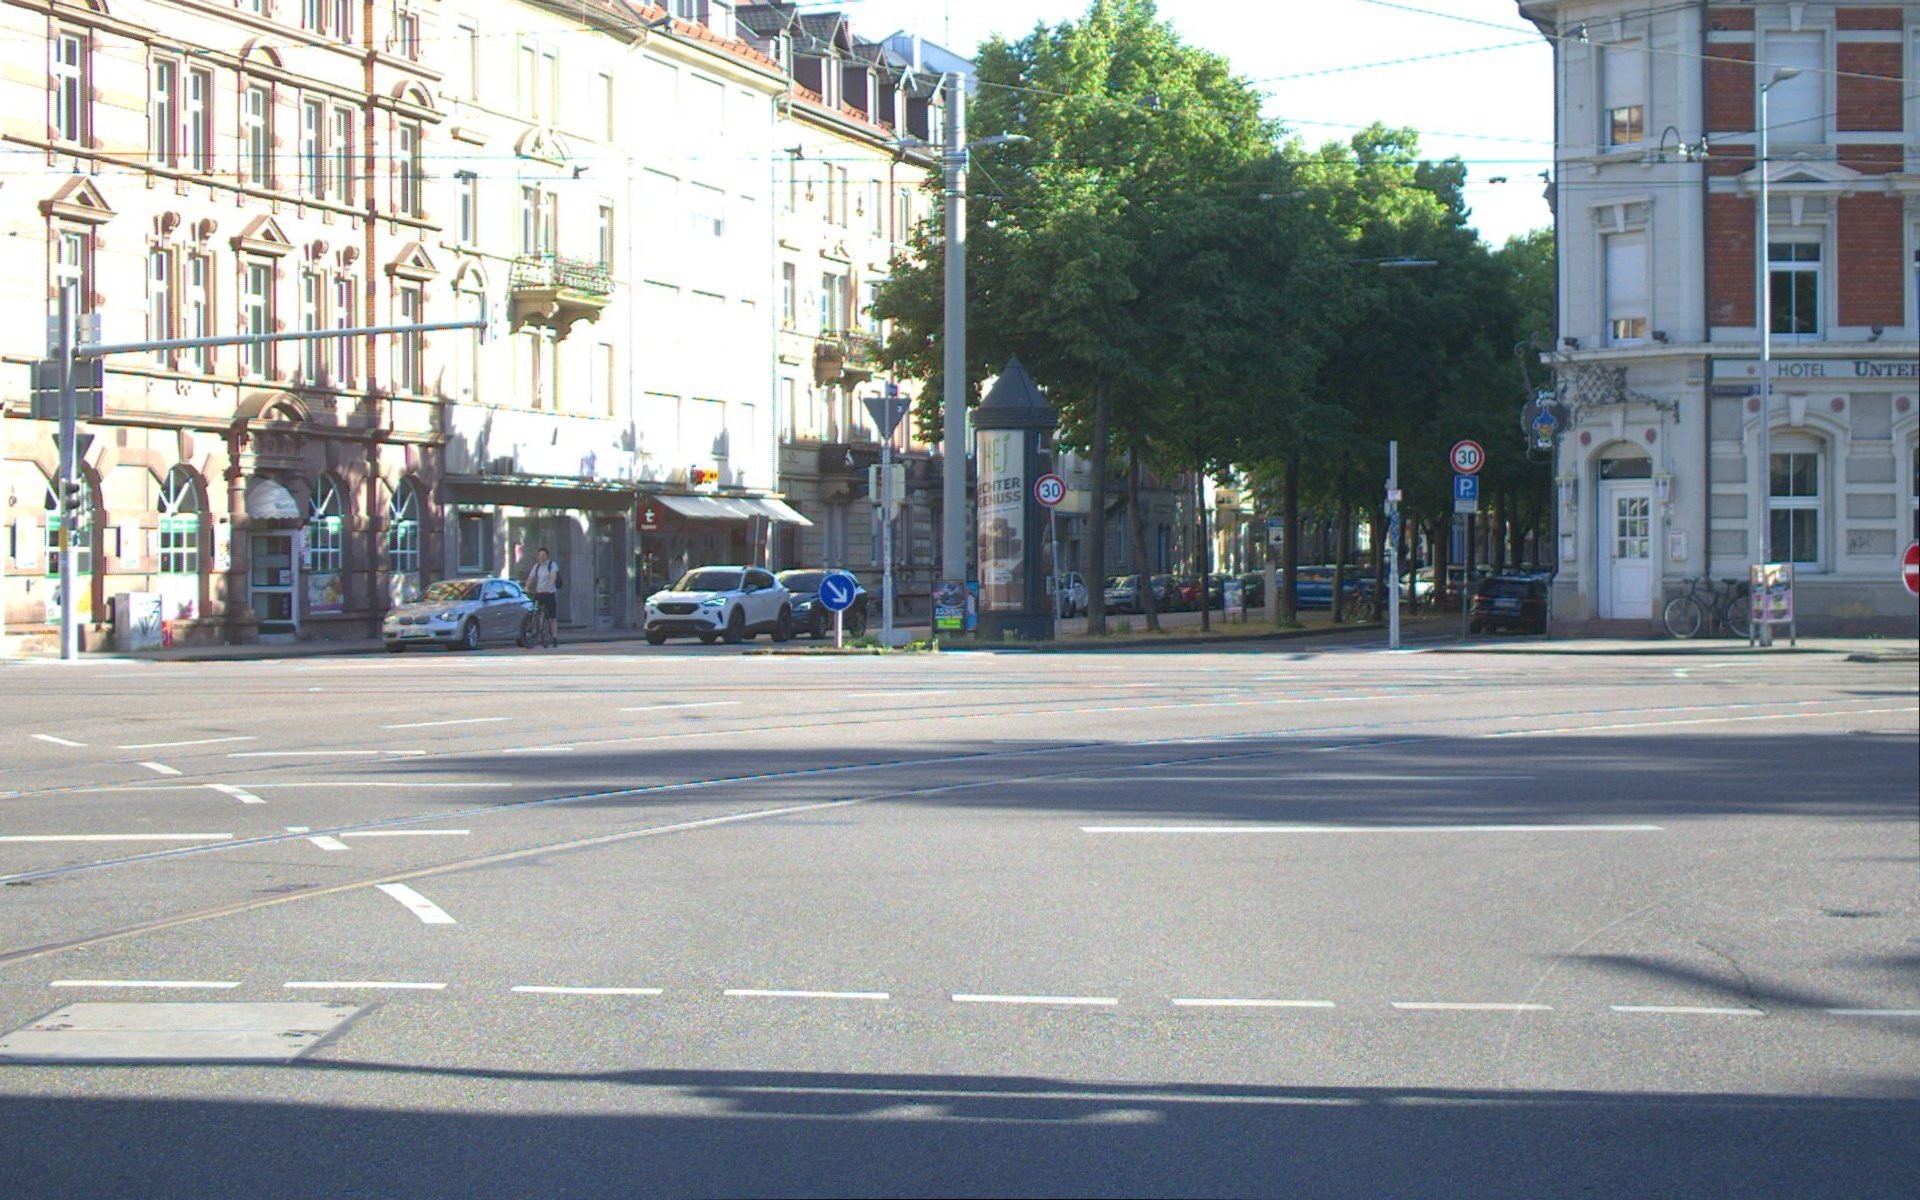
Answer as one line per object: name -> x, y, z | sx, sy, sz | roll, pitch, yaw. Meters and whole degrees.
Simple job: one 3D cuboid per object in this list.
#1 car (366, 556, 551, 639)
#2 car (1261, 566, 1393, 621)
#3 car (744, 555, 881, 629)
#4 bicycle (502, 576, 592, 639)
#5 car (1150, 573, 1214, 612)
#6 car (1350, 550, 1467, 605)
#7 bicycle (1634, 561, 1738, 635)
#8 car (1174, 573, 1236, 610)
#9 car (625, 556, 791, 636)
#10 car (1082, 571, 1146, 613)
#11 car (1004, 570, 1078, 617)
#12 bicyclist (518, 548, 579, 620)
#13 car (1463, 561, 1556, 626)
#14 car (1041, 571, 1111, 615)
car -> -9.773, -0.070, 67.378 | 2.098, 1.540, 4.361 | 0, 1, 14
car -> 12.296, -0.222, 115.223 | 4.113, 1.640, 1.745 | 3, 1, 15
car -> -3.125, -0.189, 73.530 | 1.994, 1.508, 3.998 | 0, 1, 12
bicycle -> -7.862, 0.128, 65.626 | 0.751, 1.131, 2.808 | 0, 1, 14
car -> 8.514, -0.308, 131.605 | 1.742, 1.393, 4.121 | 3, 1, 13
car -> 17.414, -0.872, 133.421 | 4.115, 1.912, 1.744 | 3, 1, 21
bicycle -> 12.066, -0.033, 57.131 | 1.639, 1.218, 0.606 | 0, 1, 16
car -> 9.732, -0.343, 136.383 | 1.742, 1.393, 4.121 | 3, 1, 13
car -> -4.874, -0.102, 67.163 | 2.098, 1.494, 3.998 | 0, 1, 14
car -> 5.513, -0.298, 122.781 | 1.741, 1.393, 4.122 | 3, 1, 9
car -> 2.602, -0.212, 109.999 | 1.741, 1.393, 4.122 | 3, 1, 9
bicyclist -> -7.849, -0.313, 65.589 | 0.794, 1.370, 1.107 | 0, 1, 14
car -> 13.172, -0.154, 82.283 | 1.652, 1.519, 3.750 | 0, 0, 17
car -> 3.926, -0.251, 115.803 | 1.741, 1.393, 4.122 | 3, 1, 9
